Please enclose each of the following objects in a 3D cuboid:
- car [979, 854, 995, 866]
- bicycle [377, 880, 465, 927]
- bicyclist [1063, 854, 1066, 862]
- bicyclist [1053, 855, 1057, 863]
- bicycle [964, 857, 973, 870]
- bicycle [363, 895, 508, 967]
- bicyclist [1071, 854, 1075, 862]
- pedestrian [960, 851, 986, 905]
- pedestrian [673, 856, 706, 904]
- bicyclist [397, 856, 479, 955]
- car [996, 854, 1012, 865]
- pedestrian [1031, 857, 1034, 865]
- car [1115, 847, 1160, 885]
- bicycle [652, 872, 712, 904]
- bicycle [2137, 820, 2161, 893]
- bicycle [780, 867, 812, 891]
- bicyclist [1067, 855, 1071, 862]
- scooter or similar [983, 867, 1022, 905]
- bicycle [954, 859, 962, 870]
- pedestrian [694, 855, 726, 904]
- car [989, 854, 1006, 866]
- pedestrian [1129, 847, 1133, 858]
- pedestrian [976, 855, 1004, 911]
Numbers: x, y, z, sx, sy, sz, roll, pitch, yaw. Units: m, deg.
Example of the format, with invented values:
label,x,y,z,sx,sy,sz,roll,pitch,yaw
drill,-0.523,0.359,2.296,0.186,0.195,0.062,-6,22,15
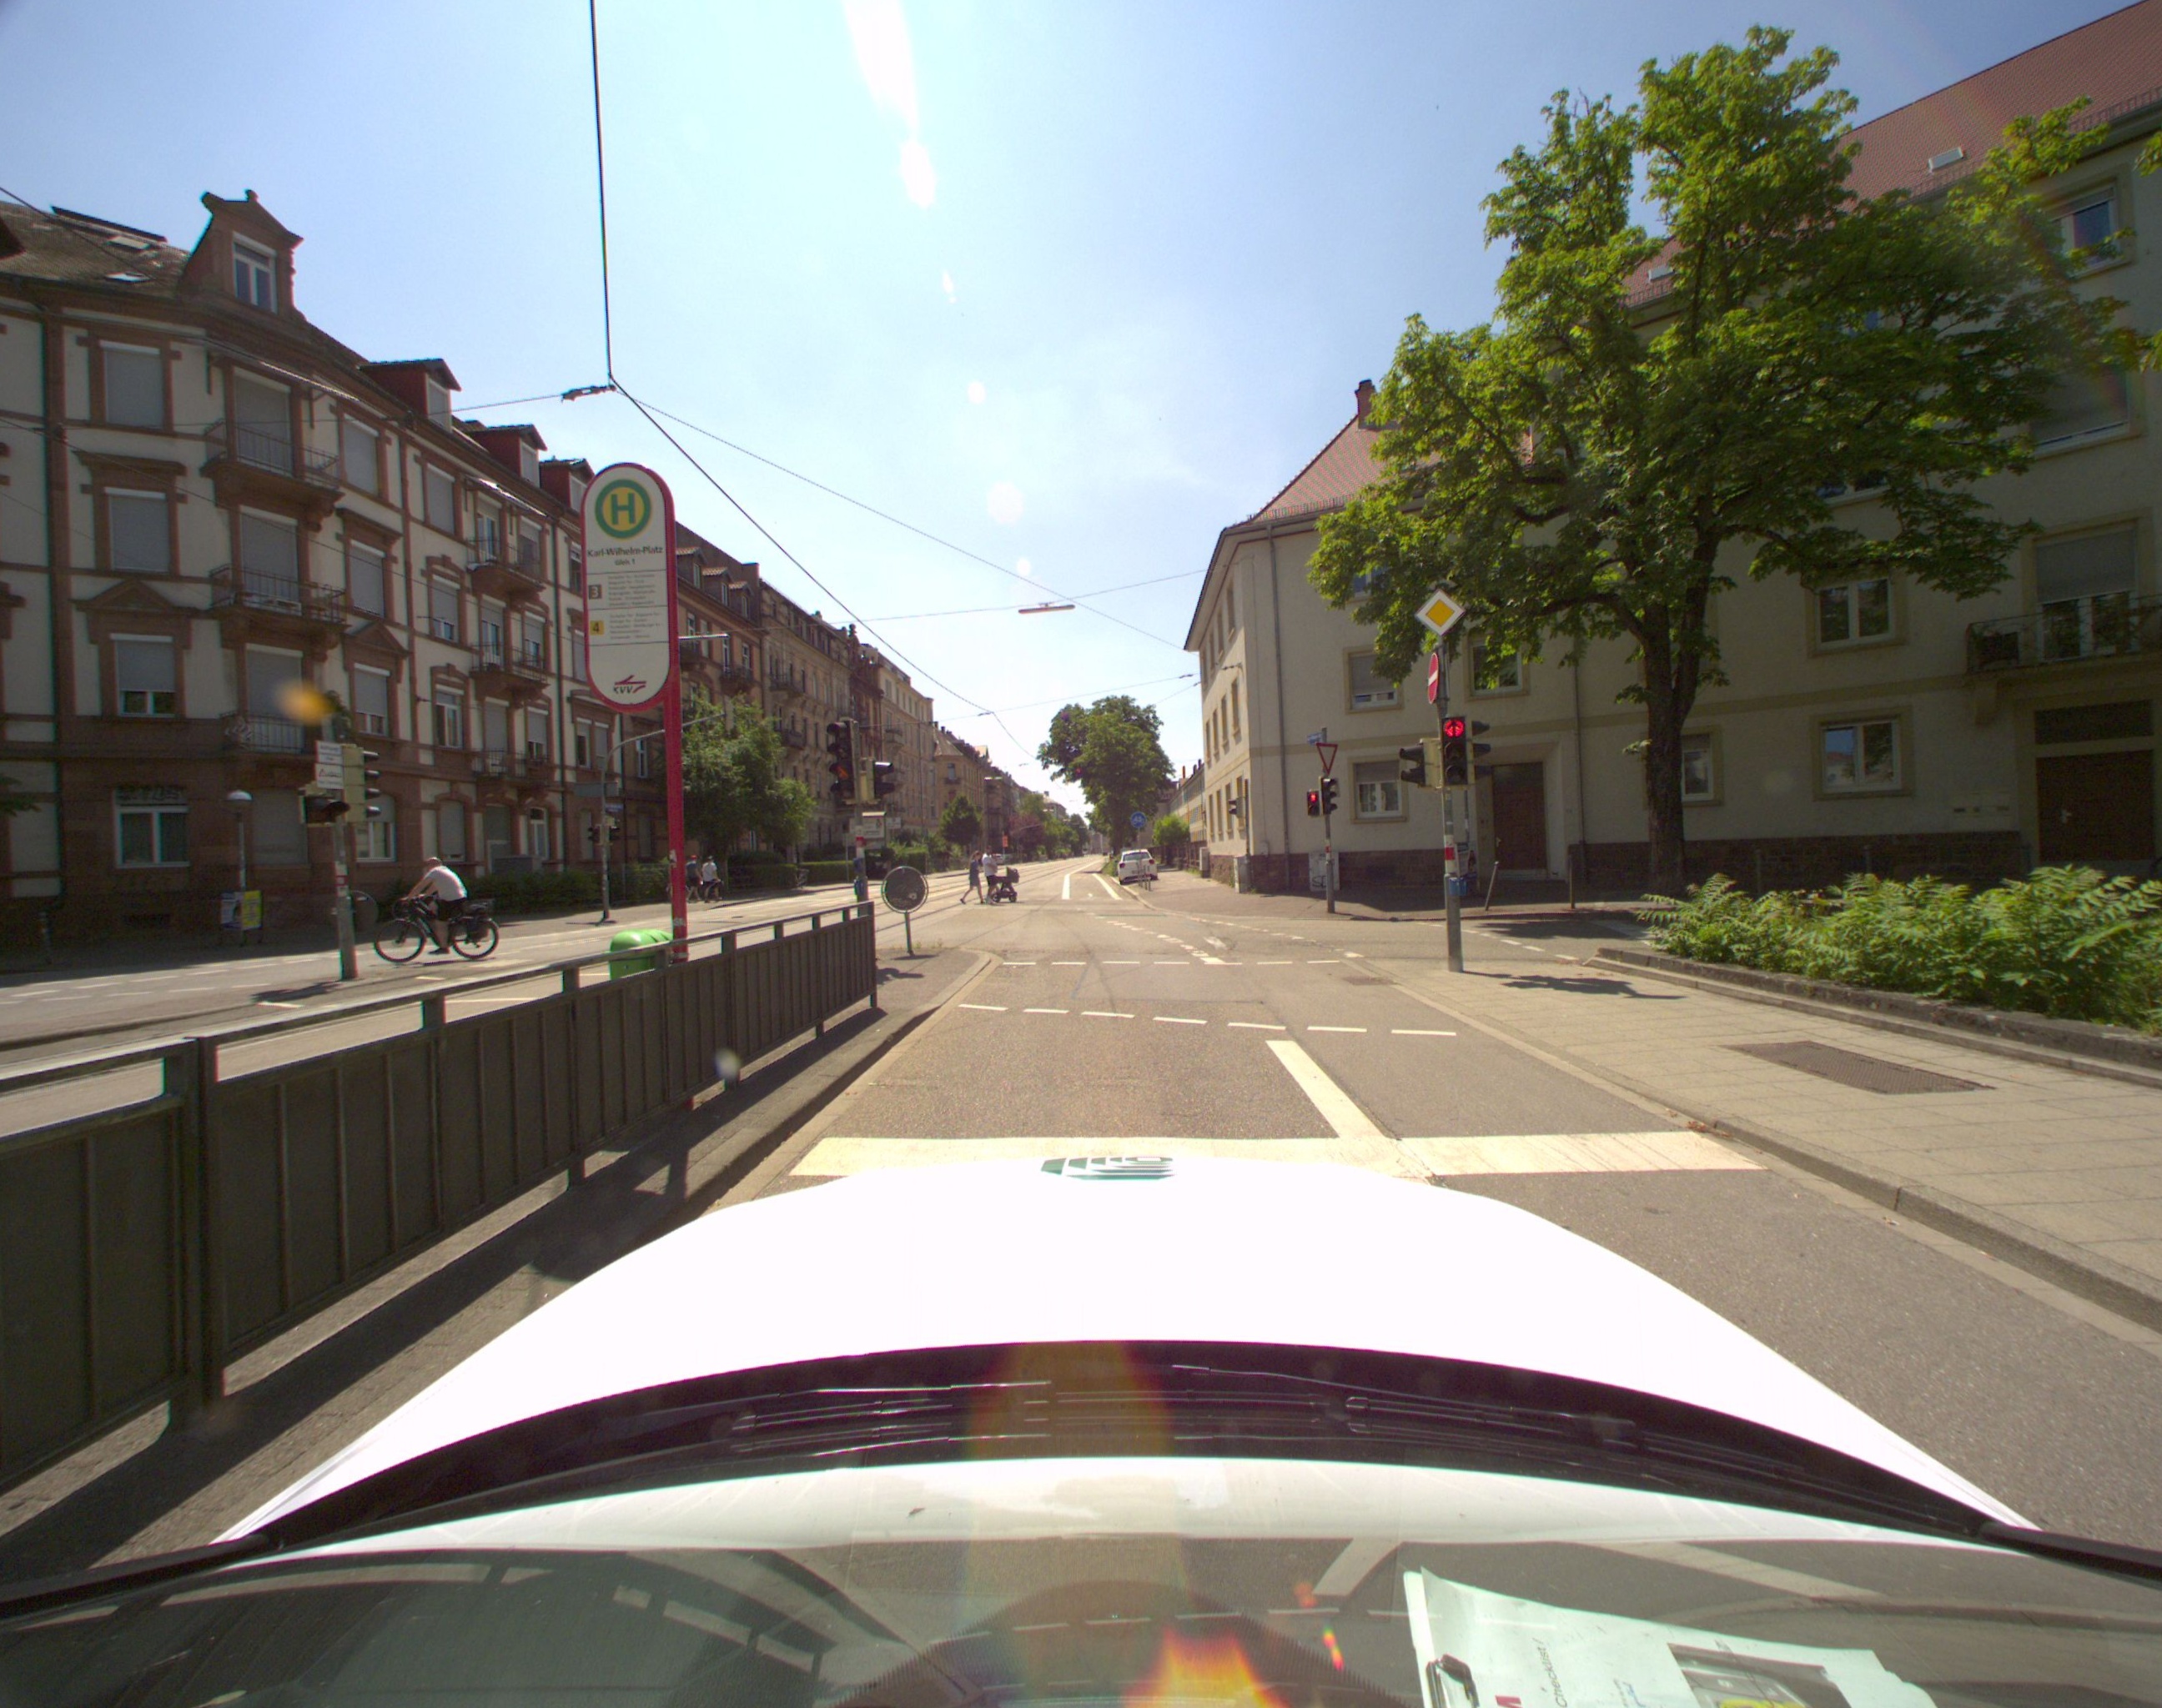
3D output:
label,x,y,z,sx,sy,sz,roll,pitch,yaw
car,-14.342,0.899,124.463,1.912,1.715,4.001,0,-1,2
bicycle,-19.554,1.443,24.156,0.557,1.294,1.975,-1,-1,43
bicyclist,-3.716,0.969,183.701,0.724,1.768,1.080,0,-1,3
bicyclist,-5.044,0.921,159.070,0.724,1.629,1.080,0,-1,3
bicycle,-11.715,0.960,85.133,0.675,1.278,1.918,-2,0,-1
bicycle,-10.850,1.274,13.754,1.763,1.057,0.696,-2,-1,-15
bicyclist,-2.016,1.035,202.145,0.724,1.818,1.080,0,-1,3
pedestrian,-3.325,0.738,25.091,0.671,1.645,0.560,-1,-1,9
pedestrian,-15.092,0.981,31.410,0.813,1.822,0.874,0,1,1
bicyclist,-10.839,0.846,13.752,0.848,1.592,0.696,-2,-1,-15
car,-11.670,0.878,124.326,1.912,1.715,4.001,0,-1,2
pedestrian,-8.302,1.200,139.934,0.404,1.461,0.436,-2,0,1
car,2.525,0.535,37.417,1.808,1.516,4.001,-4,-1,2
bicycle,-15.670,1.305,32.078,0.934,1.136,2.774,0,-1,1
bicycle,17.012,0.025,12.084,0.527,1.104,1.589,-2,0,-34
bicycle,-14.408,1.259,41.251,0.936,1.136,2.767,0,-1,-7
bicyclist,-3.015,1.085,202.230,0.724,1.818,1.080,0,-1,3
scooter or similar,-2.421,0.981,25.221,1.199,1.155,0.557,0,-1,-6
bicycle,-12.159,1.033,80.495,0.677,1.064,1.912,-2,0,-9
pedestrian,-14.319,0.970,31.462,0.813,1.822,0.874,0,1,1
car,-11.890,0.813,116.062,1.912,1.715,4.001,0,-1,2
pedestrian,7.608,-0.202,122.957,0.519,1.562,0.573,-2,0,1
pedestrian,-2.693,0.842,24.108,0.671,1.645,0.560,-1,-1,9
